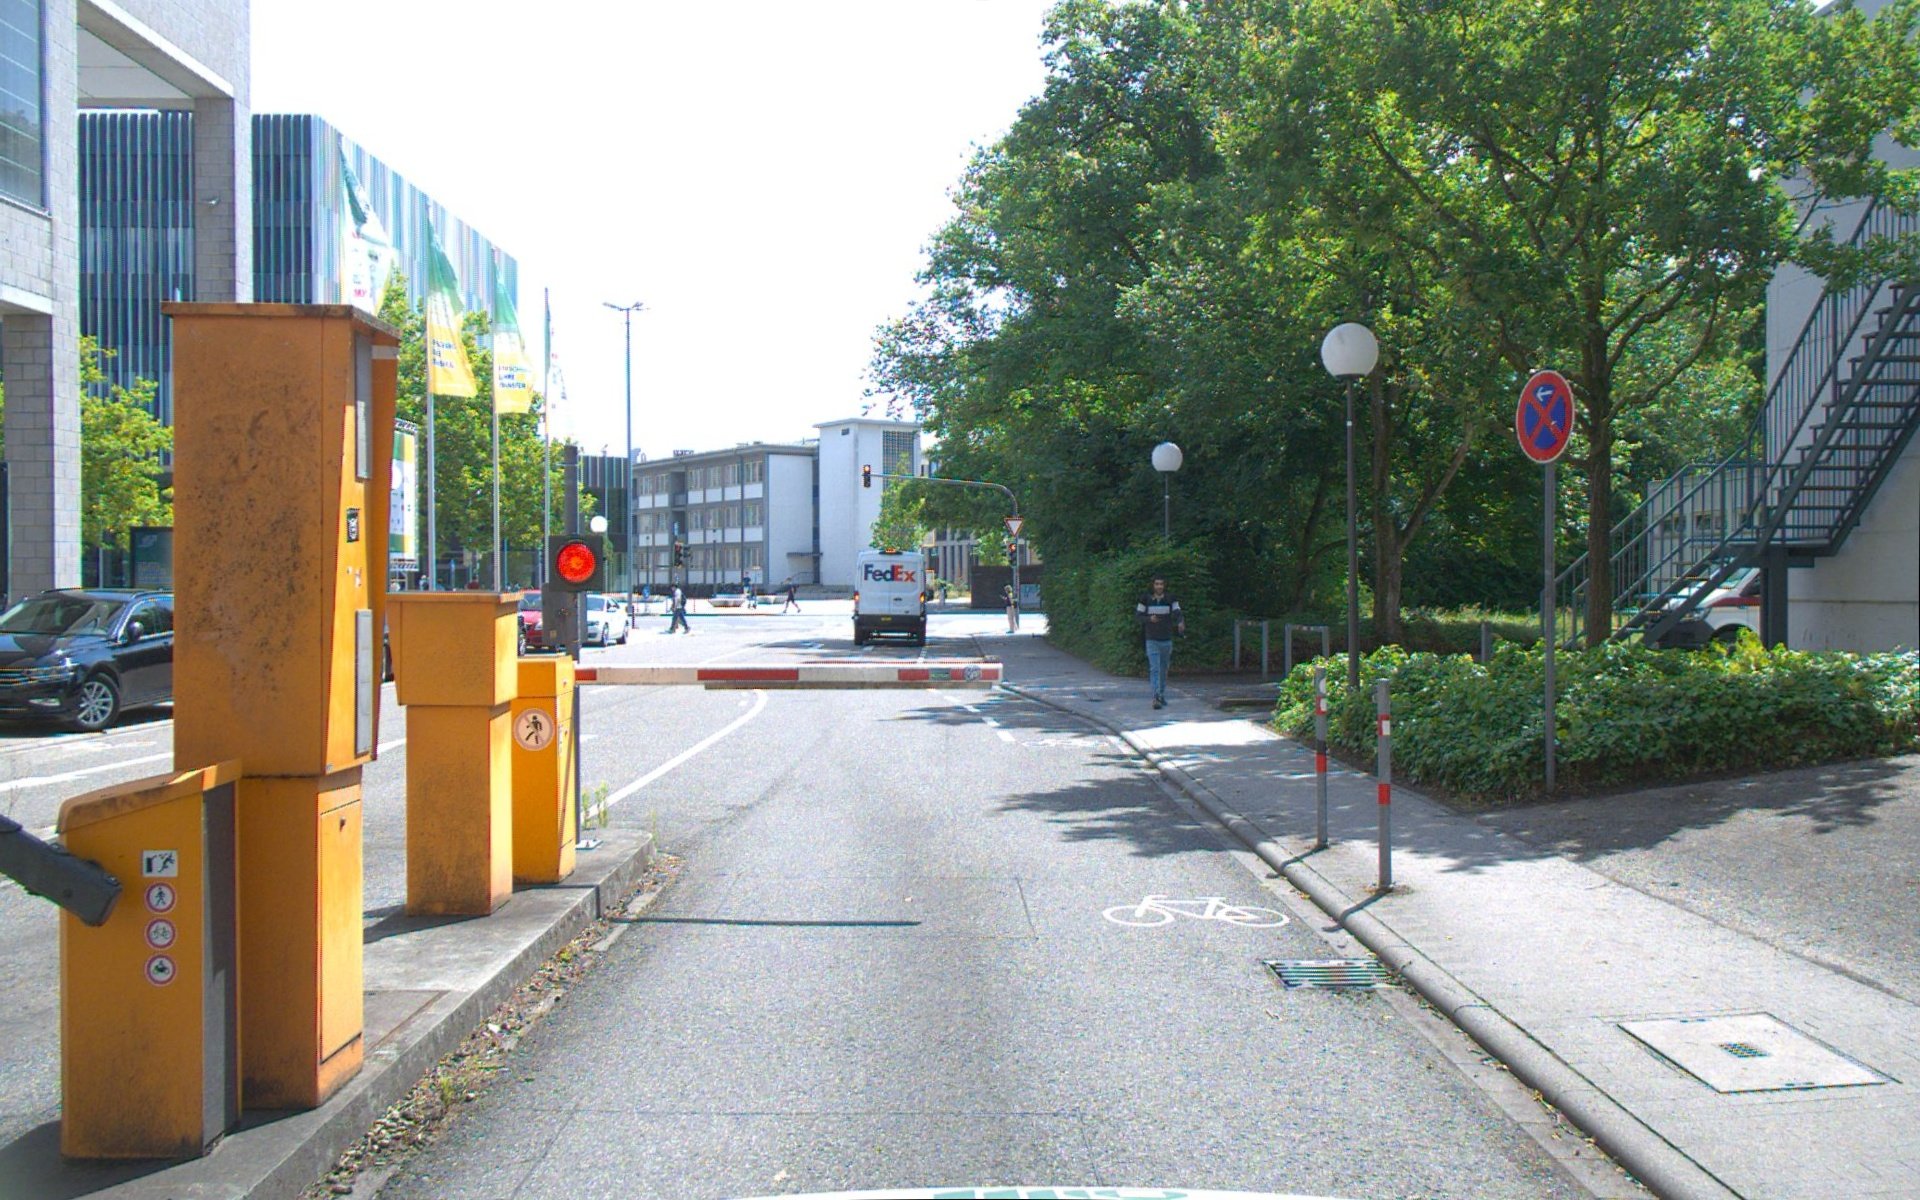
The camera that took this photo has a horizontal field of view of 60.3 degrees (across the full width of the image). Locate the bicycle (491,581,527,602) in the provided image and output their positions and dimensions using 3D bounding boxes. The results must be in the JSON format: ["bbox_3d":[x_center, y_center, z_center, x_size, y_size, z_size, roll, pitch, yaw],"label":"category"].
[{"bbox_3d":[-28.127,-0.545,103.129,1.188,1.259,2.913,0,0,-37],"label":"bicycle"}]

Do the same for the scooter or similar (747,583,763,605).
[{"bbox_3d":[-11.365,-0.336,91.820,0.704,1.199,2.718,0,1,-11],"label":"scooter or similar"}]

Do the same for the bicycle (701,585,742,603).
[{"bbox_3d":[-18.236,-0.464,126.561,2.935,1.387,1.258,0,0,-38],"label":"bicycle"}]

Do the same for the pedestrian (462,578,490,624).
[{"bbox_3d":[-17.581,0.029,60.090,0.754,1.625,0.799,-1,0,1],"label":"pedestrian"}]

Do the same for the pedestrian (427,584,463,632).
[{"bbox_3d":[-20.317,0.314,65.299,0.844,1.850,1.096,0,1,23],"label":"pedestrian"}]

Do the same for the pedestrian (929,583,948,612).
[{"bbox_3d":[-1.161,-0.129,89.752,0.812,1.550,0.810,0,0,-20],"label":"pedestrian"}]

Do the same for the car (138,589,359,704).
[{"bbox_3d":[-10.217,0.612,24.041,1.605,1.493,3.706,2,0,-1],"label":"car"}]

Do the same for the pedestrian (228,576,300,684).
[{"bbox_3d":[-13.516,0.561,32.147,0.965,2.049,1.164,0,0,-5],"label":"pedestrian"}]

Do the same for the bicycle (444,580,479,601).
[{"bbox_3d":[-30.368,-0.562,100.734,1.187,1.259,2.914,0,0,-36],"label":"bicycle"}]

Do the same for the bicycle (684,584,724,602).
[{"bbox_3d":[-19.895,-0.524,128.718,2.935,1.387,1.102,0,0,-38],"label":"bicycle"}]

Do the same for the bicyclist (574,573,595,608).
[{"bbox_3d":[-20.412,-0.517,89.877,0.772,1.849,1.000,-1,1,9],"label":"bicyclist"}]

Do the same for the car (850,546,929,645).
[{"bbox_3d":[-1.930,-0.165,46.870,2.052,2.611,5.601,-1,1,-1],"label":"car"}]

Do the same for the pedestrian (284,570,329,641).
[{"bbox_3d":[-17.523,0.138,44.368,0.704,1.883,1.089,1,0,3],"label":"pedestrian"}]

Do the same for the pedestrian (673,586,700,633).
[{"bbox_3d":[-9.853,0.352,59.655,0.826,1.680,0.746,0,0,1],"label":"pedestrian"}]

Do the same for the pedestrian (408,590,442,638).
[{"bbox_3d":[-21.438,0.558,66.331,0.835,1.909,1.006,0,0,22],"label":"pedestrian"}]

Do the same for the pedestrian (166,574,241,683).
[{"bbox_3d":[-14.573,0.533,31.883,0.965,2.049,1.164,0,0,-5],"label":"pedestrian"}]

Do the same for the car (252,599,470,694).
[{"bbox_3d":[-10.204,0.734,28.621,1.821,1.402,5.017,2,1,1],"label":"car"}]

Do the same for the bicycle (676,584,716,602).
[{"bbox_3d":[-20.679,-0.532,129.765,2.935,1.387,1.102,0,0,-38],"label":"bicycle"}]

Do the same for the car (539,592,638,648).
[{"bbox_3d":[-10.308,0.518,46.212,1.642,1.419,4.662,2,1,0],"label":"car"}]

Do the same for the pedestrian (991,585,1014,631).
[{"bbox_3d":[1.480,0.276,57.883,0.717,1.603,0.775,1,0,-5],"label":"pedestrian"}]

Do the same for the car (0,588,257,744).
[{"bbox_3d":[-9.930,0.646,18.868,1.821,1.493,4.718,2,1,-1],"label":"car"}]

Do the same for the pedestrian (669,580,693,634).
[{"bbox_3d":[-9.882,0.255,58.678,0.704,1.891,0.770,0,0,1],"label":"pedestrian"}]

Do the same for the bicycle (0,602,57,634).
[{"bbox_3d":[-33.994,0.655,59.548,2.556,1.133,0.665,0,0,-3],"label":"bicycle"}]

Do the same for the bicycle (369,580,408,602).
[{"bbox_3d":[-33.900,-0.547,98.025,1.363,1.259,2.912,0,0,-37],"label":"bicycle"}]

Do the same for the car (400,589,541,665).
[{"bbox_3d":[-10.597,0.545,36.106,1.712,1.493,4.197,2,1,1],"label":"car"}]

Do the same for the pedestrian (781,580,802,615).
[{"bbox_3d":[-9.119,-0.129,89.512,1.059,1.903,0.832,-1,0,-2],"label":"pedestrian"}]

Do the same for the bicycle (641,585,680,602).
[{"bbox_3d":[-24.481,-0.551,135.177,2.935,1.387,1.102,0,0,-38],"label":"bicycle"}]

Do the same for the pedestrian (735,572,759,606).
[{"bbox_3d":[-12.991,-0.653,100.706,1.116,2.049,1.157,0,0,13],"label":"pedestrian"}]

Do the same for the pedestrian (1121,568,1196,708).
[{"bbox_3d":[2.488,0.455,20.848,0.724,1.704,1.255,0,0,-4],"label":"pedestrian"}]

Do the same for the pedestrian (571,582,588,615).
[{"bbox_3d":[-20.161,-0.074,87.627,0.738,1.707,0.755,-1,0,-3],"label":"pedestrian"}]

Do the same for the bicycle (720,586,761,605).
[{"bbox_3d":[-16.462,-0.332,124.219,2.935,1.387,1.102,0,0,-38],"label":"bicycle"}]

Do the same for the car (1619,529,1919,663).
[{"bbox_3d":[13.458,-0.073,26.816,4.726,2.049,2.062,-1,0,0],"label":"car"}]

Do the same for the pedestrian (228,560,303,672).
[{"bbox_3d":[-12.944,0.280,30.849,0.965,2.049,1.164,0,0,-5],"label":"pedestrian"}]

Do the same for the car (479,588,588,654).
[{"bbox_3d":[-10.502,0.474,40.967,1.642,1.493,3.911,2,1,0],"label":"car"}]

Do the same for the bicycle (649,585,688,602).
[{"bbox_3d":[-23.586,-0.538,133.704,2.935,1.387,1.102,0,0,-38],"label":"bicycle"}]

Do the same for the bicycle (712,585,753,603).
[{"bbox_3d":[-17.198,-0.450,125.310,2.935,1.387,1.102,0,0,-38],"label":"bicycle"}]

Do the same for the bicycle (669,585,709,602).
[{"bbox_3d":[-21.443,-0.514,130.810,2.935,1.387,1.102,0,0,-38],"label":"bicycle"}]
